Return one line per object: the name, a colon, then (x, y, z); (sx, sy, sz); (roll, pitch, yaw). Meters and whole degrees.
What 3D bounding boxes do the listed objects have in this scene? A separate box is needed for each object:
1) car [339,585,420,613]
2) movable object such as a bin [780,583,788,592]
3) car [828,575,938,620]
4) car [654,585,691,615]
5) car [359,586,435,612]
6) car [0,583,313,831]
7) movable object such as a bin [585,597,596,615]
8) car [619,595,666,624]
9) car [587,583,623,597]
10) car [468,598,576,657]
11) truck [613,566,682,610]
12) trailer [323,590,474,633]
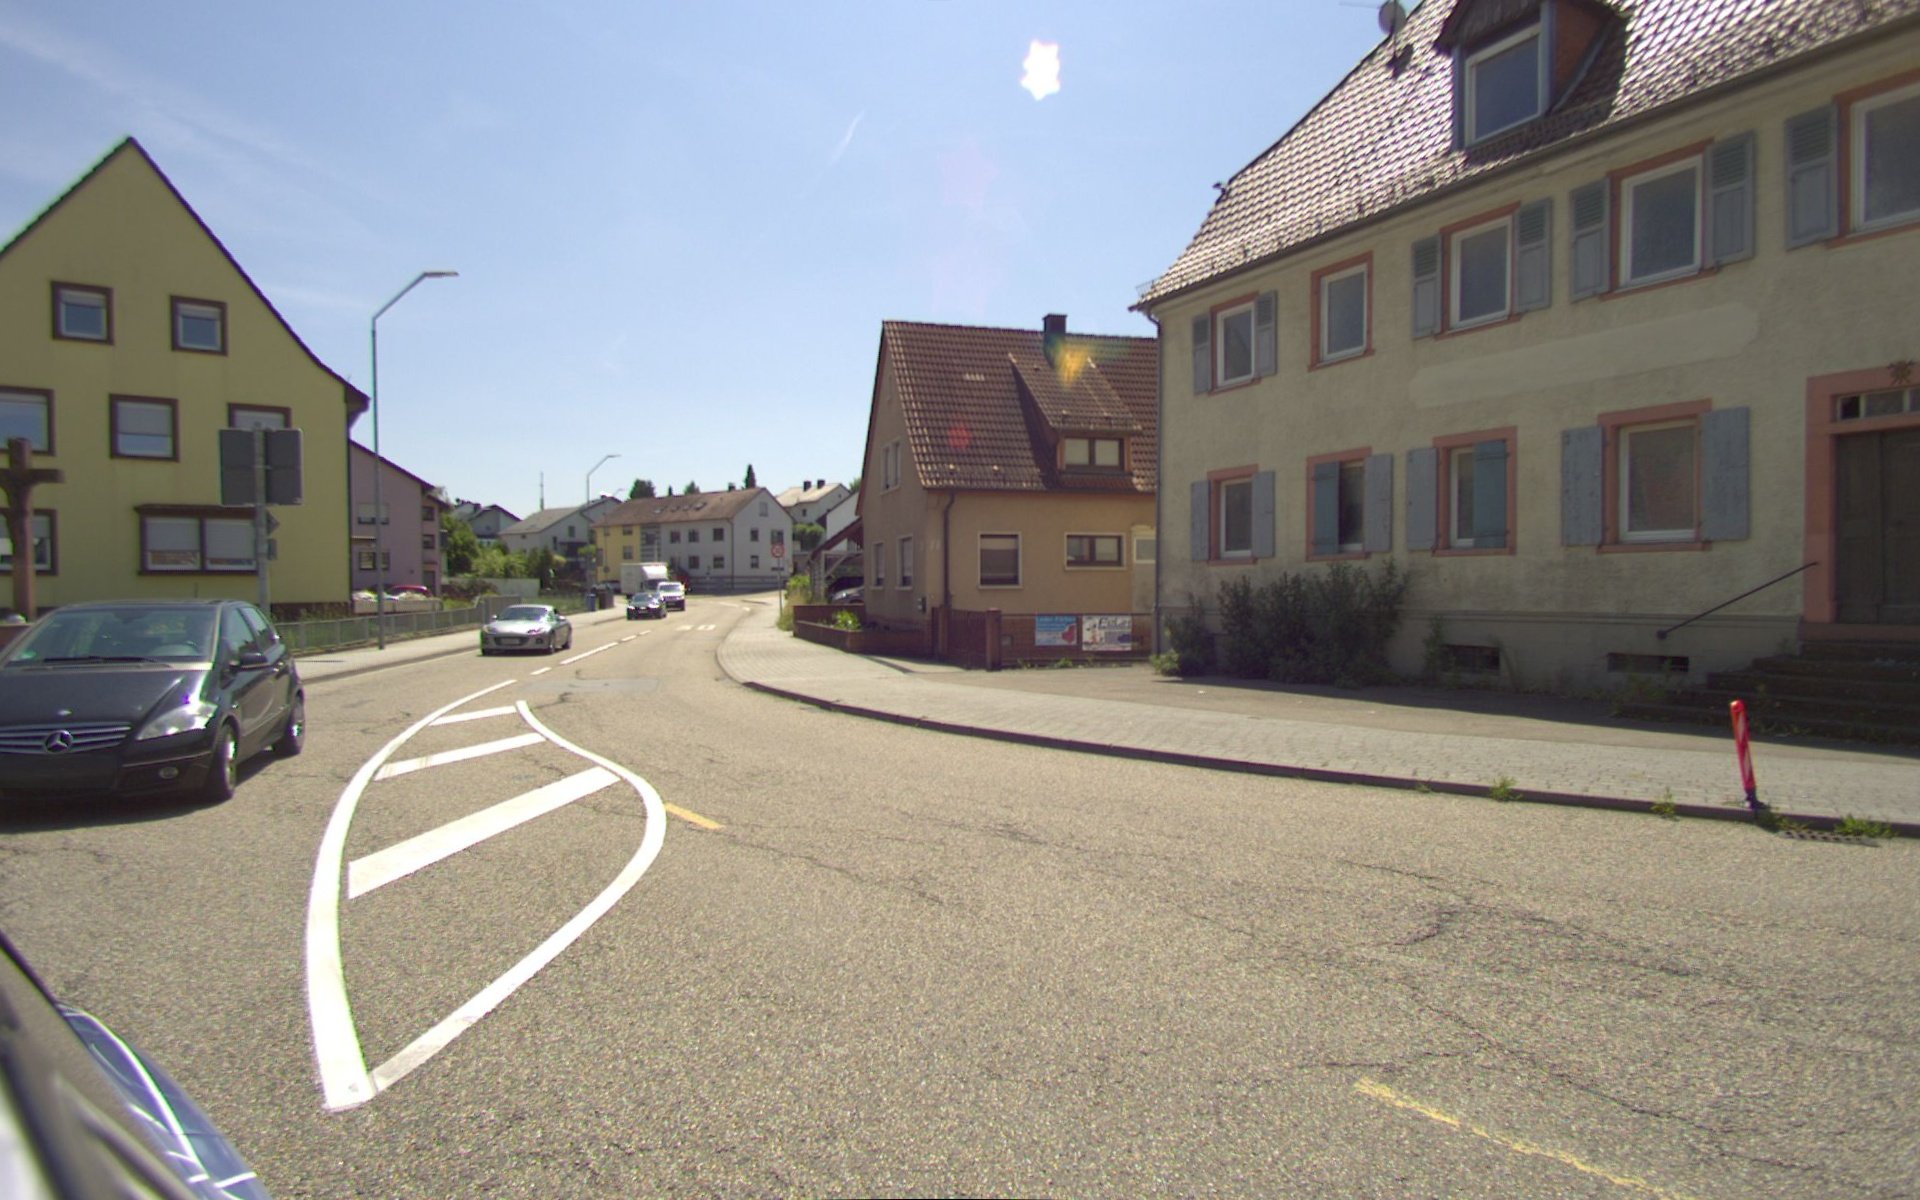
car: (-35.422, -0.081, 61.760); (4.059, 1.559, 1.855); (-2, 2, -37)
movable object such as a bin: (-18.497, -1.365, 106.563); (0.599, 0.941, 0.593); (0, 1, 34)
car: (-2.985, -0.104, 38.948); (4.072, 1.650, 1.869); (0, 1, -9)
car: (-19.486, -0.032, 68.745); (1.838, 1.922, 5.048); (-2, 1, -10)
car: (-33.414, -0.048, 60.083); (3.773, 1.497, 1.766); (0, 0, -33)
car: (-6.964, 0.695, 8.640); (1.735, 1.604, 4.212); (-1, 1, -23)
movable object such as a bin: (-22.595, 0.380, 61.854); (0.557, 1.065, 0.653); (-1, 1, -26)
car: (-16.751, 0.473, 53.524); (1.867, 1.386, 4.009); (-2, 1, -10)
car: (-39.740, -1.118, 113.199); (4.181, 1.563, 1.715); (1, 2, 37)
car: (-11.472, 0.668, 26.788); (1.785, 1.324, 4.009); (-1, 1, -11)
truck: (-27.055, -1.004, 87.414); (3.153, 3.626, 8.327); (-2, 1, -35)
trailer: (-23.677, 0.449, 42.816); (5.279, 1.557, 2.142); (-2, 2, -39)
